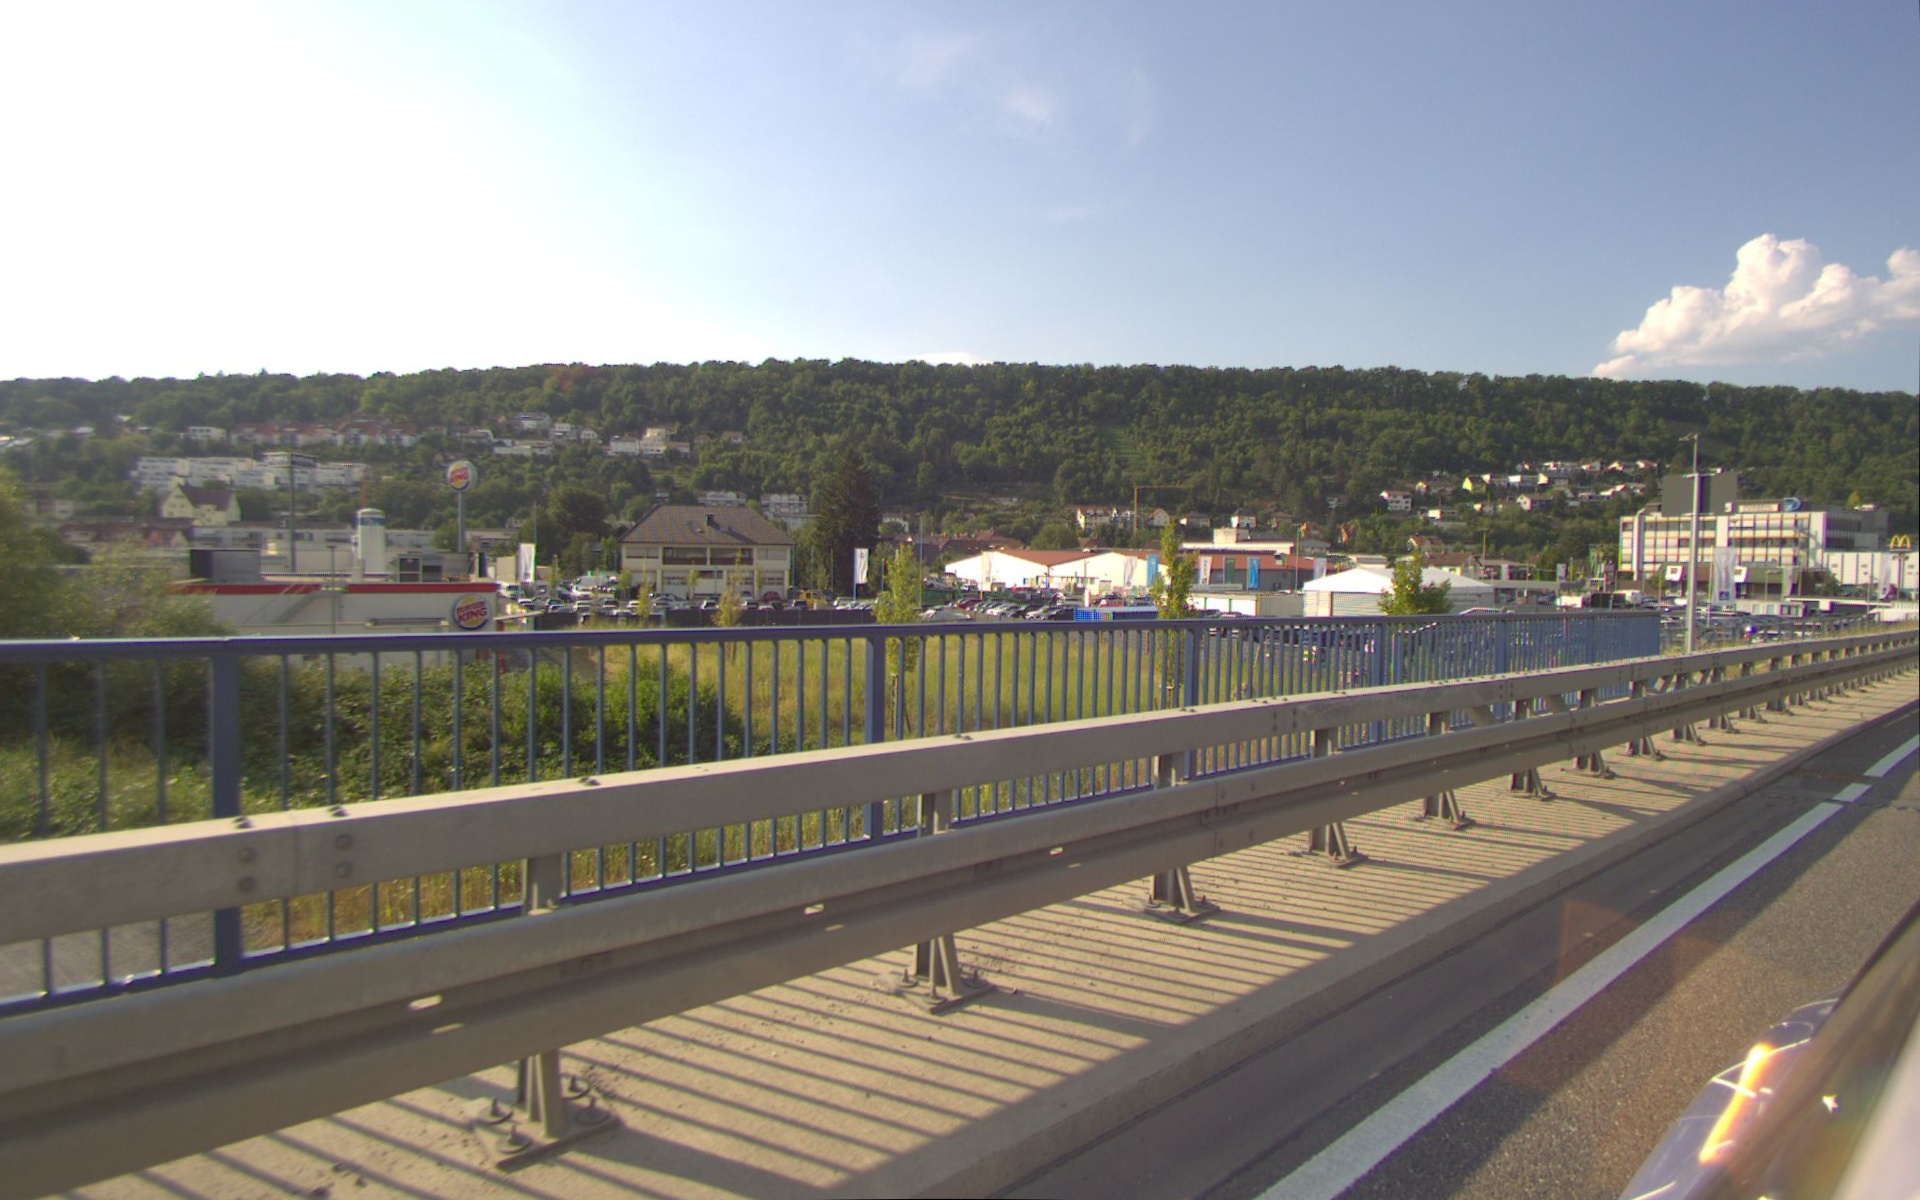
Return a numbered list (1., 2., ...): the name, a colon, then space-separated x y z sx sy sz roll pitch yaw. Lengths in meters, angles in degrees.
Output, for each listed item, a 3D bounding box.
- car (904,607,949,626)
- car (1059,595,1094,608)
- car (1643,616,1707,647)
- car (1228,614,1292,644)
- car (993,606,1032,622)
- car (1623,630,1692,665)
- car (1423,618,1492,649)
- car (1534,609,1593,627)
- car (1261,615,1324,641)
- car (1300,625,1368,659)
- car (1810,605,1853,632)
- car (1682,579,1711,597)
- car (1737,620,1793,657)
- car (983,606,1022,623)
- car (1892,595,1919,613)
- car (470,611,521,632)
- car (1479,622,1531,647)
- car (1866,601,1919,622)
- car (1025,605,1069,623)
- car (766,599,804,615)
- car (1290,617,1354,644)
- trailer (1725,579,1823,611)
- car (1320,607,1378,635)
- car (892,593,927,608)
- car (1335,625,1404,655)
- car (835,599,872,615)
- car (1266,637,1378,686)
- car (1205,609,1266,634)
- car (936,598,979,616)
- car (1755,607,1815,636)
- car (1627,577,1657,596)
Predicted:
1. car: -3.038 1.445 91.566 3.701 1.597 1.756 -1 0 -21
2. car: 14.866 0.214 129.379 4.138 1.521 1.593 -1 0 -18
3. car: 49.034 2.132 69.363 4.636 1.955 1.887 -1 1 -31
4. car: 18.446 1.756 62.165 3.926 1.623 1.711 -1 1 -37
5. car: 5.398 1.439 104.238 3.700 1.597 1.756 -1 0 -19
6. car: 39.802 2.673 57.719 4.642 1.657 1.885 -1 1 -37
7. car: 30.227 1.986 61.479 4.643 1.657 1.885 -1 1 -37
8. car: 56.453 1.669 94.720 1.766 1.563 4.434 -1 1 -33
9. car: 23.528 1.937 71.634 4.641 1.657 1.885 -1 1 -36
10. car: 21.335 2.385 57.672 3.926 1.705 1.780 -1 1 -36
11. car: 58.298 1.221 67.671 1.880 1.646 4.655 0 1 44
12. car: 98.479 -1.623 135.371 5.201 2.274 1.759 -1 1 -38
13. car: 41.904 1.984 52.646 3.769 1.700 1.615 -1 1 -41
14. car: 4.471 1.501 106.390 3.700 1.597 1.756 -1 0 -19
15. car: 96.702 0.411 101.848 1.868 1.772 3.996 -1 1 -39
16. car: -38.201 1.727 83.336 3.701 1.597 1.756 -1 0 -21
17. car: 40.124 2.519 74.520 3.924 1.705 1.781 -1 1 -35
18. car: 92.856 1.121 99.071 1.964 2.039 5.896 -1 1 -38
19. car: 8.200 1.332 95.476 3.700 1.597 1.756 -1 0 -19
20. car: -18.810 0.723 108.604 3.701 1.597 1.756 -1 0 -21
21. car: 24.969 2.072 69.808 4.641 1.657 1.885 -1 1 -36
22. trailer: 89.807 -0.597 111.760 3.296 3.364 7.902 -1 1 -36
23. car: 25.952 1.400 67.532 3.926 1.705 1.780 -1 1 -36
24. car: -5.903 0.043 118.439 3.702 1.597 1.756 -1 1 -24
25. car: 22.647 2.181 55.915 3.926 1.482 1.711 -1 1 -37
26. car: -11.538 0.725 109.417 3.701 1.597 1.756 -1 0 -21
27. car: 14.469 2.417 40.427 4.158 1.662 1.962 -1 1 -29
28. car: 20.451 1.557 75.095 4.641 1.657 1.885 -1 1 -36
29. car: -0.225 0.630 95.081 3.702 1.597 1.756 -1 1 -24
30. car: 52.875 1.358 64.830 4.641 1.646 1.885 -1 1 -36
31. car: 91.999 -1.820 136.497 5.370 2.581 1.759 -1 1 -38
